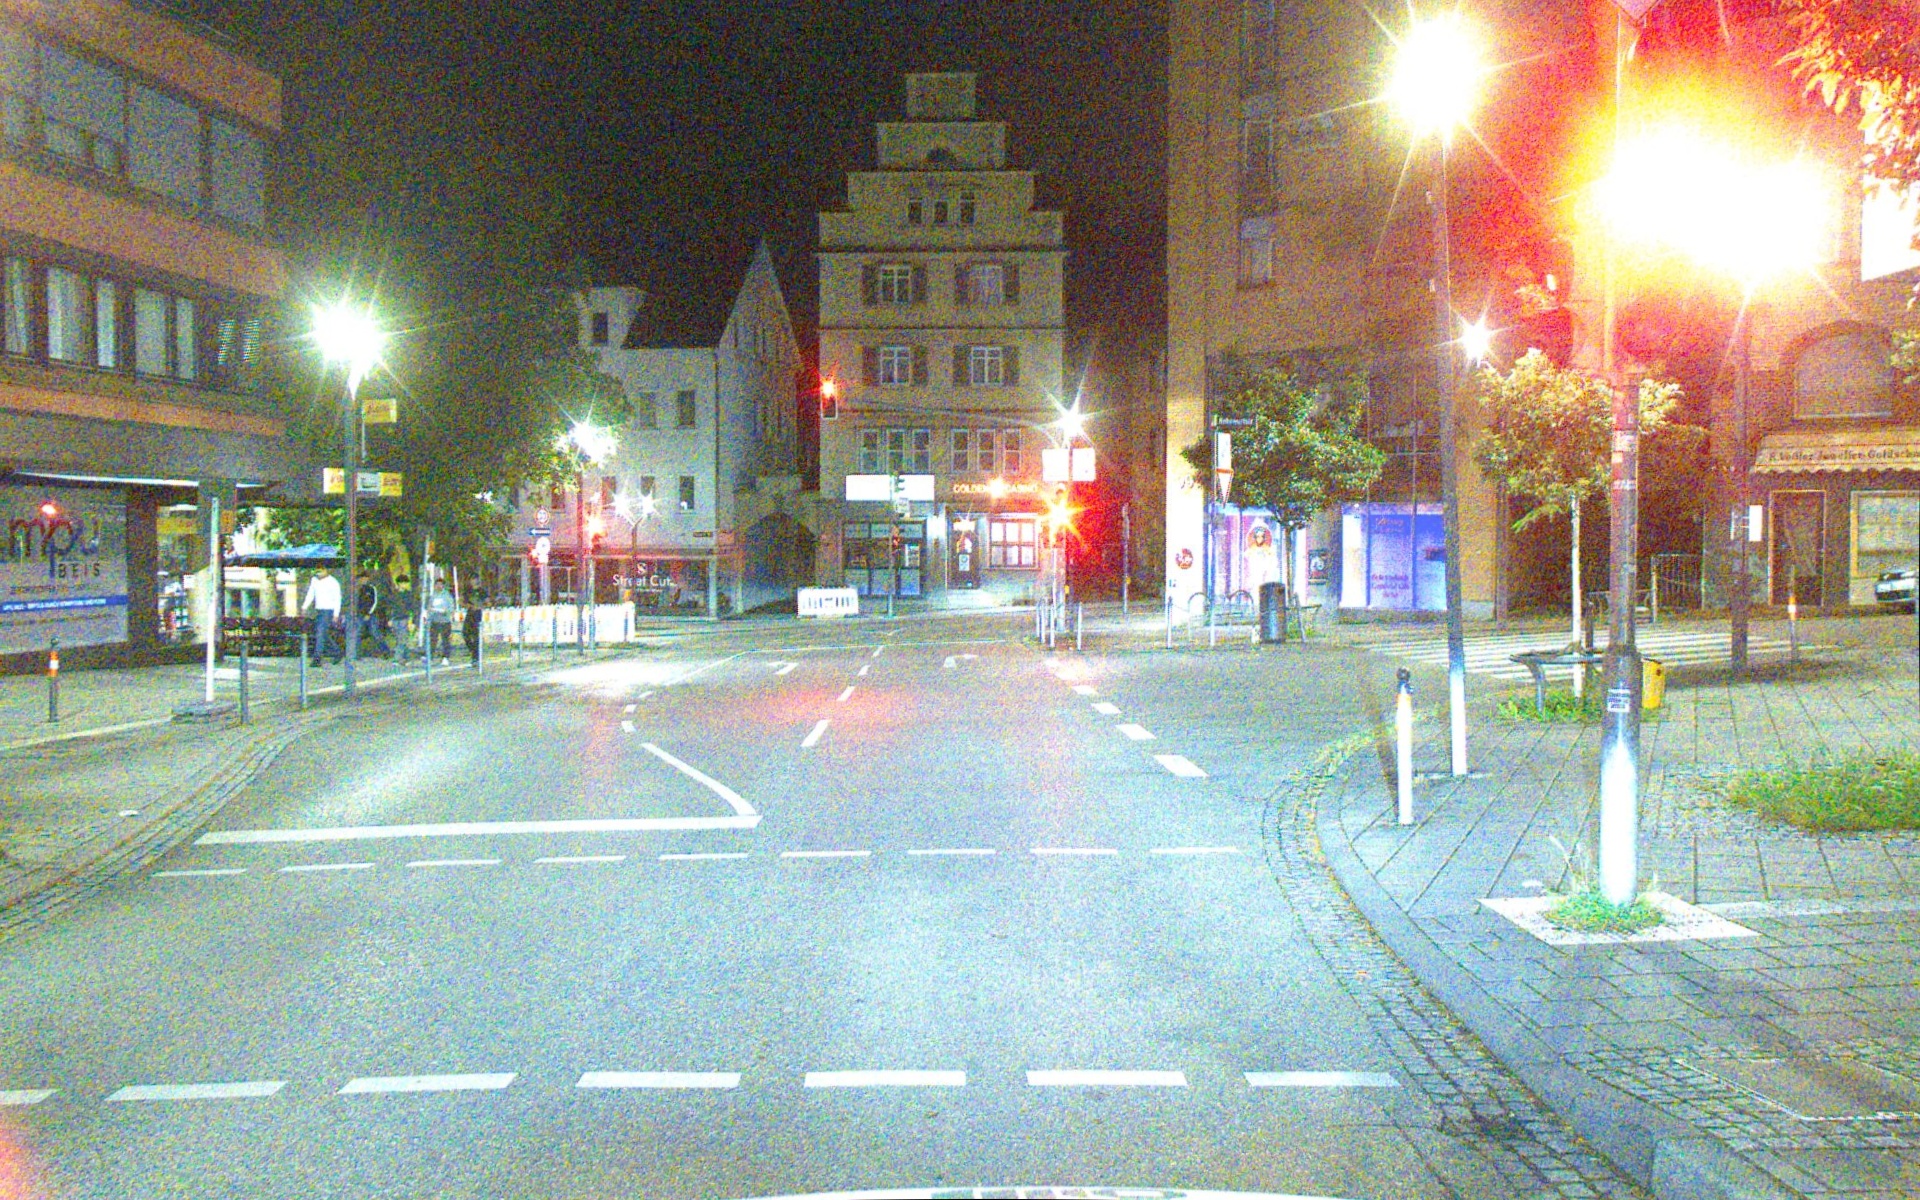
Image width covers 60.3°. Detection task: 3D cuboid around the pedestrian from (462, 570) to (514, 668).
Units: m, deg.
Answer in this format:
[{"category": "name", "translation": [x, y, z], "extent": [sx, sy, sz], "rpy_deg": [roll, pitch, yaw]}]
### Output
[{"category": "pedestrian", "translation": [-8.943, 0.356, 31.334], "extent": [0.701, 1.827, 0.737], "rpy_deg": [1, -1, 5]}]

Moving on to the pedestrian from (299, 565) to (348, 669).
[{"category": "pedestrian", "translation": [-11.332, 0.310, 29.465], "extent": [0.703, 1.827, 0.567], "rpy_deg": [1, -1, -13]}]

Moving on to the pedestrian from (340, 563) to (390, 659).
[{"category": "pedestrian", "translation": [-11.549, 0.218, 32.116], "extent": [0.701, 1.827, 0.570], "rpy_deg": [1, -1, 6]}]

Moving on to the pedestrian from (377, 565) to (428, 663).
[{"category": "pedestrian", "translation": [-10.439, 0.266, 30.981], "extent": [0.701, 1.827, 0.570], "rpy_deg": [1, -1, 6]}]

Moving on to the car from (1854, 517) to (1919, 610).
[{"category": "car", "translation": [17.175, -0.703, 27.137], "extent": [3.957, 1.478, 1.827], "rpy_deg": [-3, 1, 6]}]

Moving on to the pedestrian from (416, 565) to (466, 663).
[{"category": "pedestrian", "translation": [-9.828, 0.273, 31.317], "extent": [0.701, 1.827, 0.570], "rpy_deg": [1, -1, 6]}]
